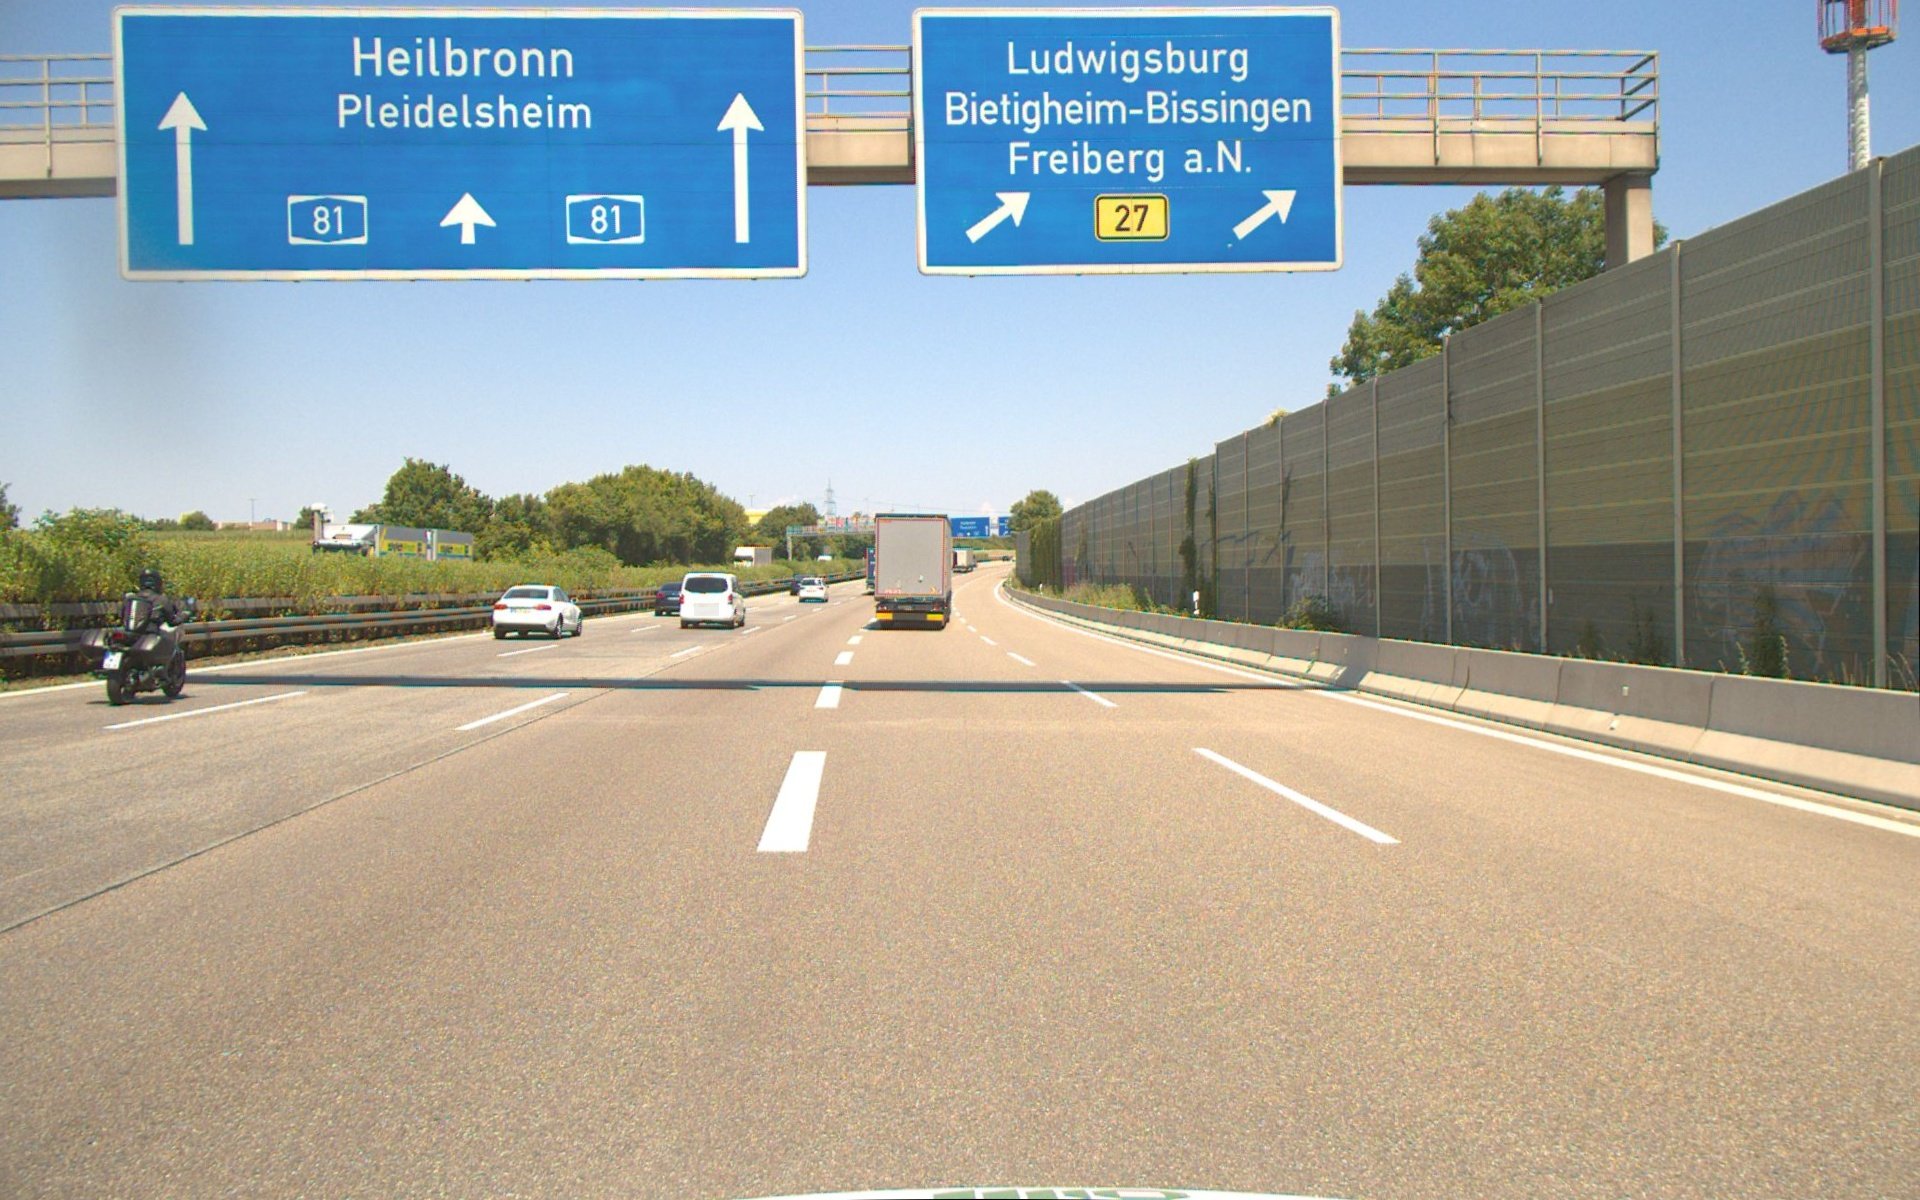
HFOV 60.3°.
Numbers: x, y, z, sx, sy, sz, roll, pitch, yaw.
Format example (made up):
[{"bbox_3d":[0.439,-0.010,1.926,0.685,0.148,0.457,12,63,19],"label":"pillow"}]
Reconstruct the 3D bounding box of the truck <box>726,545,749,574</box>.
[{"bbox_3d":[-30.670,-5.578,228.114,2.486,4.016,5.167,1,1,0],"label":"truck"}]

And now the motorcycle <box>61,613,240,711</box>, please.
[{"bbox_3d":[-10.111,0.739,20.820,0.894,1.108,2.849,0,0,-1],"label":"motorcycle"}]

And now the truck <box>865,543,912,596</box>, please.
[{"bbox_3d":[-6.156,-2.744,144.756,3.671,4.344,14.494,1,2,-1],"label":"truck"}]

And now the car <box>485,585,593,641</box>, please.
[{"bbox_3d":[-11.689,0.330,46.220,1.838,1.465,5.124,0,0,-2],"label":"car"}]

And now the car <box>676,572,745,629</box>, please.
[{"bbox_3d":[-8.638,0.047,57.654,1.892,1.884,4.689,0,-1,-3],"label":"car"}]

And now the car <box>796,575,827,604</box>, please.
[{"bbox_3d":[-10.071,-0.733,112.220,1.866,1.883,4.630,0,2,-2],"label":"car"}]

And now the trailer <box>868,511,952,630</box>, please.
[{"bbox_3d":[-1.980,-1.032,63.026,2.869,4.085,12.032,0,0,-2],"label":"trailer"}]

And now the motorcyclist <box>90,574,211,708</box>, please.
[{"bbox_3d":[-10.111,0.491,20.709,0.875,1.625,1.299,0,0,-1],"label":"motorcyclist"}]

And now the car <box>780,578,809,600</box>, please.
[{"bbox_3d":[-13.543,-0.884,135.452,1.865,1.718,4.631,-1,0,0],"label":"car"}]

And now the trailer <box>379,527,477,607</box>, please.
[{"bbox_3d":[-28.442,-1.708,88.776,2.865,4.036,8.653,1,0,-3],"label":"trailer"}]

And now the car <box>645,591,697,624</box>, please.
[{"bbox_3d":[-12.924,0.337,74.181,1.722,1.433,5.036,0,0,-3],"label":"car"}]

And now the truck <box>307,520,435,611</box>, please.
[{"bbox_3d":[-28.035,-1.600,79.284,2.942,4.036,10.315,1,0,-3],"label":"truck"}]
